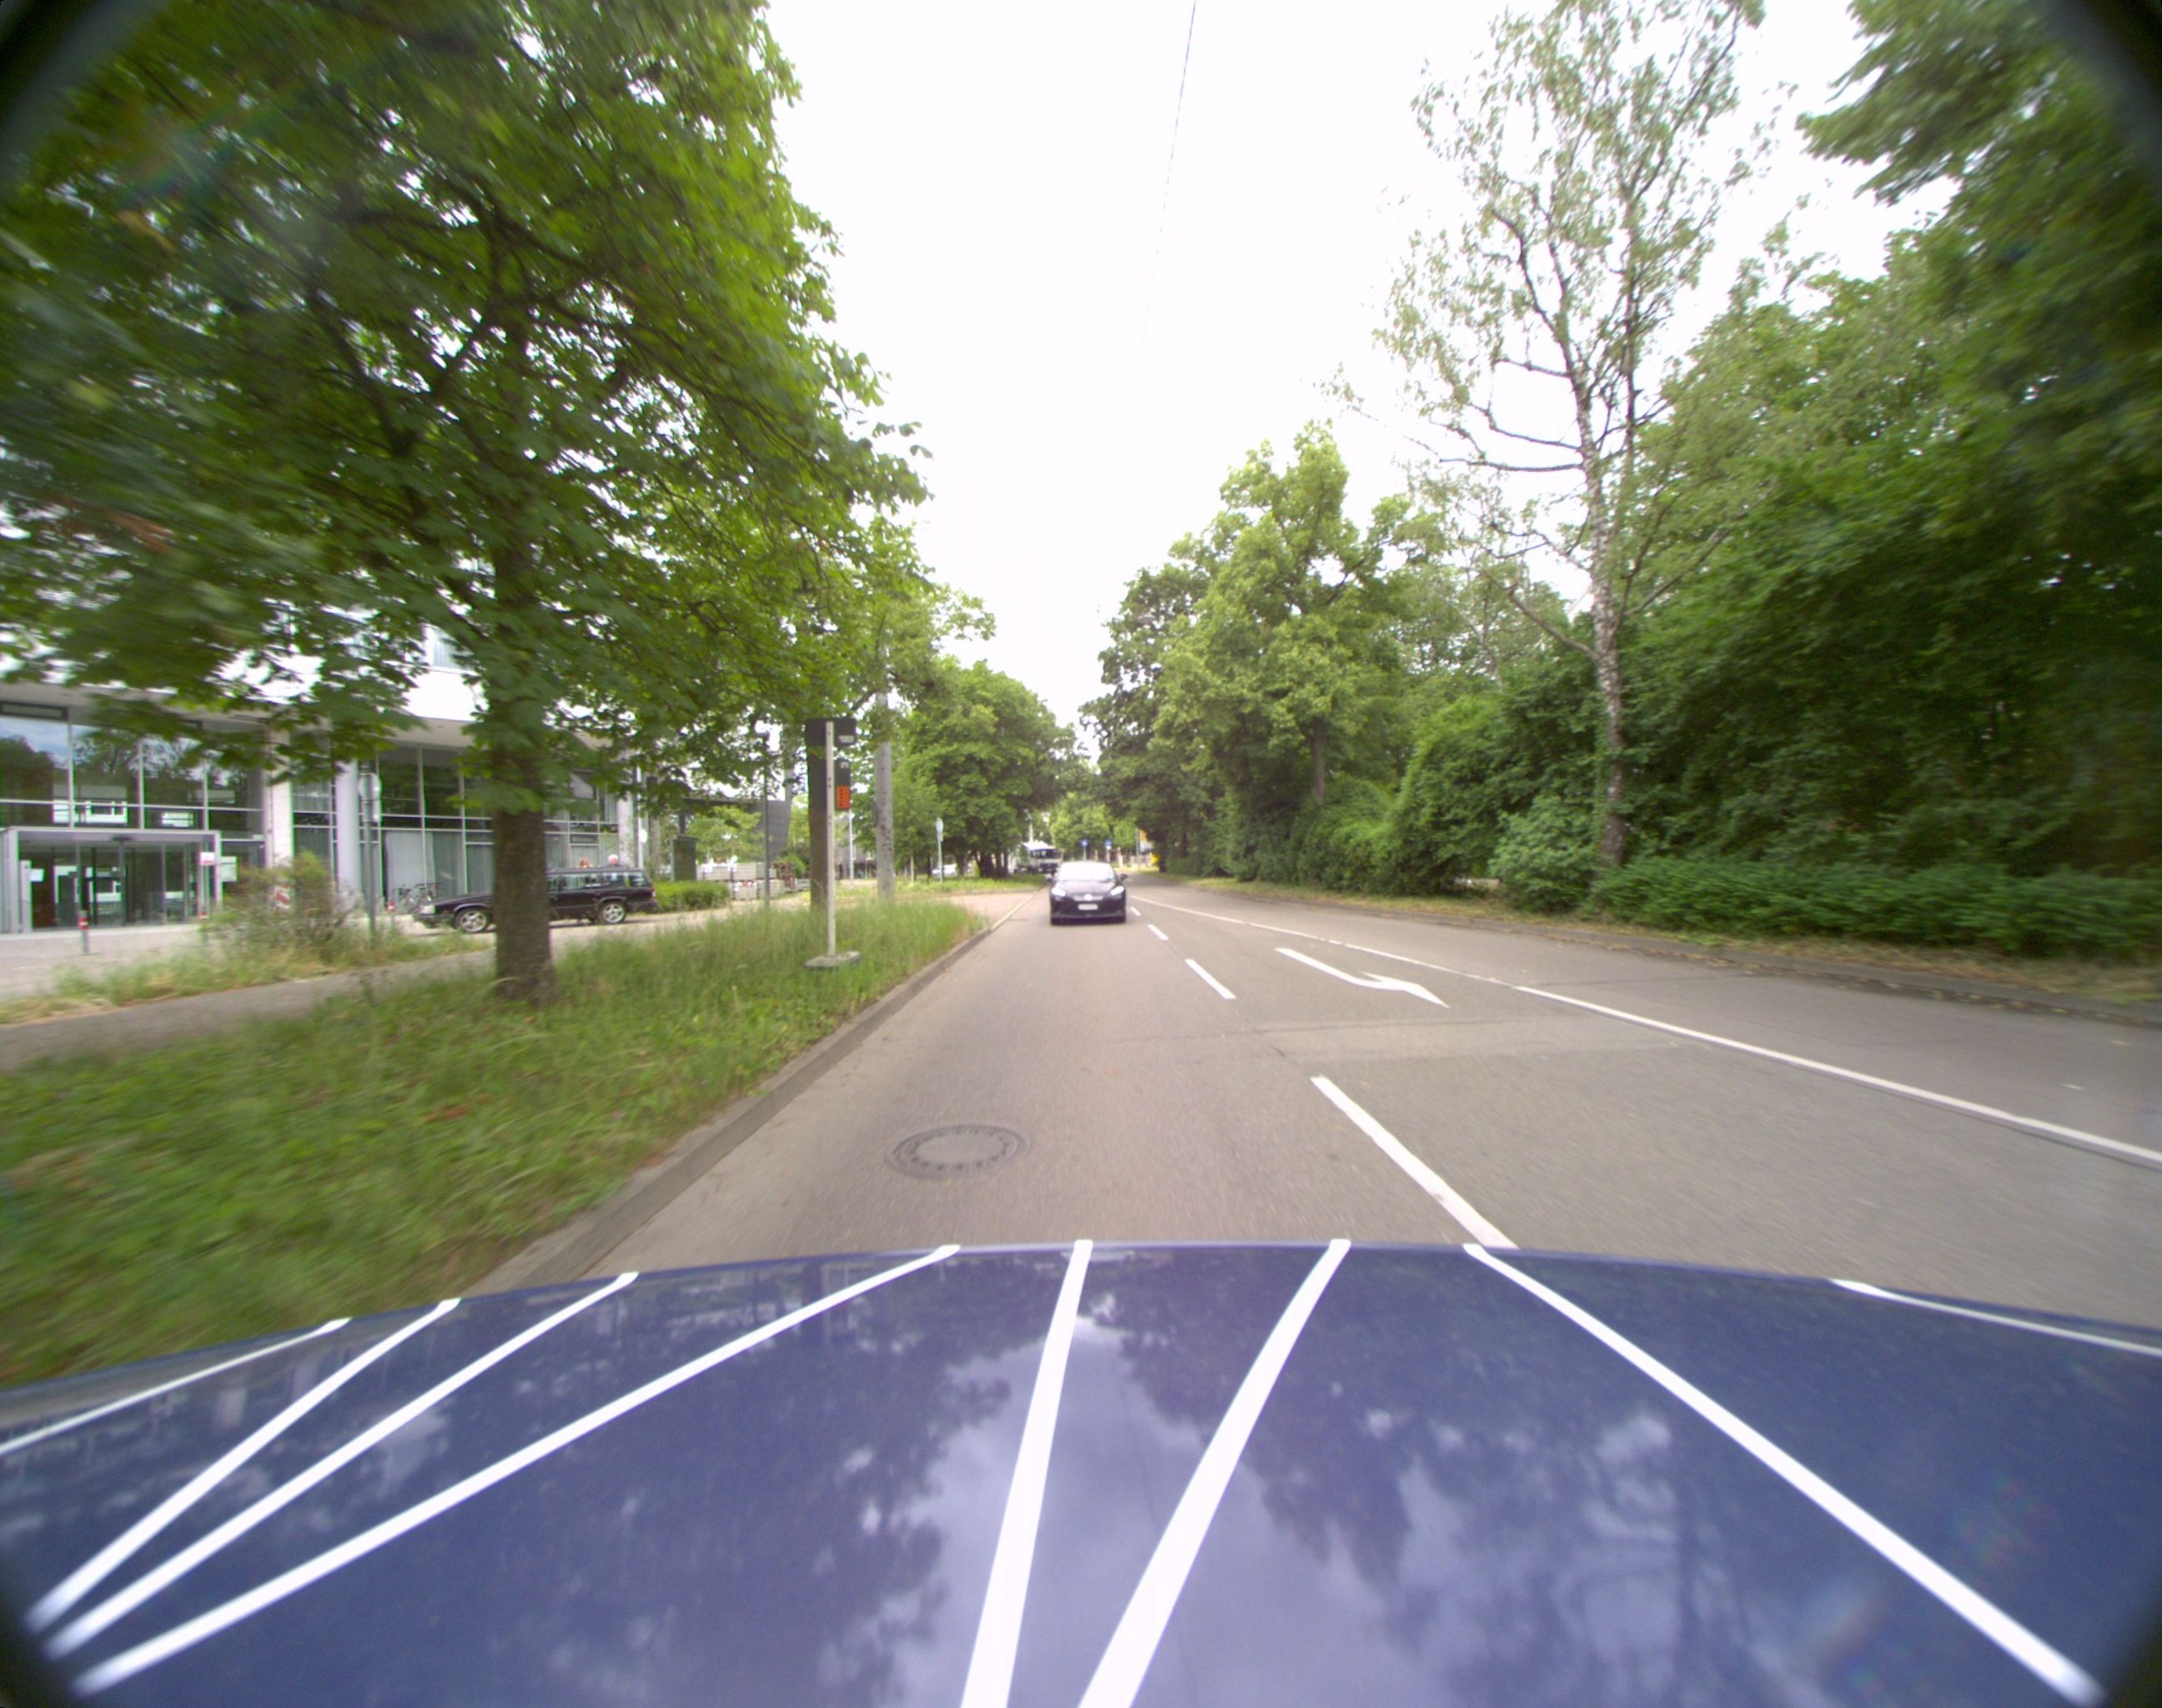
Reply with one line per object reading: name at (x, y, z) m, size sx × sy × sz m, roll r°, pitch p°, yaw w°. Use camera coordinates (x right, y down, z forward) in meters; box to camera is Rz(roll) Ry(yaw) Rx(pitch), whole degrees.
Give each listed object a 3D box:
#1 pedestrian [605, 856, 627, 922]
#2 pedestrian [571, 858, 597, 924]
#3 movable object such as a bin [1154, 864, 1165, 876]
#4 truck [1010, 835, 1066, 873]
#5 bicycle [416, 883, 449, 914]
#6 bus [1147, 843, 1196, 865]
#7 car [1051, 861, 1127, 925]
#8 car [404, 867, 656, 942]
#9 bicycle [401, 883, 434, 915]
pedestrian at (-12.696, 0.962, 20.754) m, size 0.475 × 1.743 × 0.583 m, roll 2°, pitch -4°, yaw -30°
pedestrian at (-13.169, 0.996, 20.152) m, size 0.499 × 1.714 × 0.535 m, roll 2°, pitch -4°, yaw -30°
movable object such as a bin at (5.935, 1.192, 57.226) m, size 0.599 × 0.840 × 0.579 m, roll -5°, pitch -1°, yaw 21°
truck at (-3.917, 0.058, 67.561) m, size 2.441 × 3.176 × 6.453 m, roll -2°, pitch 0°, yaw -27°
bicycle at (-23.415, 1.623, 27.435) m, size 1.397 × 1.066 × 0.393 m, roll -3°, pitch 1°, yaw 29°
bus at (14.697, -0.025, 122.967) m, size 3.046 × 2.990 × 8.445 m, roll -6°, pitch -2°, yaw 45°
car at (0.175, 0.958, 20.204) m, size 1.800 × 1.475 × 4.019 m, roll -1°, pitch 0°, yaw -1°
car at (-13.306, 1.123, 18.586) m, size 4.752 × 1.507 × 1.866 m, roll -1°, pitch 0°, yaw -44°
bicycle at (-23.408, 1.598, 26.802) m, size 1.397 × 1.066 × 0.393 m, roll -3°, pitch 1°, yaw 29°
